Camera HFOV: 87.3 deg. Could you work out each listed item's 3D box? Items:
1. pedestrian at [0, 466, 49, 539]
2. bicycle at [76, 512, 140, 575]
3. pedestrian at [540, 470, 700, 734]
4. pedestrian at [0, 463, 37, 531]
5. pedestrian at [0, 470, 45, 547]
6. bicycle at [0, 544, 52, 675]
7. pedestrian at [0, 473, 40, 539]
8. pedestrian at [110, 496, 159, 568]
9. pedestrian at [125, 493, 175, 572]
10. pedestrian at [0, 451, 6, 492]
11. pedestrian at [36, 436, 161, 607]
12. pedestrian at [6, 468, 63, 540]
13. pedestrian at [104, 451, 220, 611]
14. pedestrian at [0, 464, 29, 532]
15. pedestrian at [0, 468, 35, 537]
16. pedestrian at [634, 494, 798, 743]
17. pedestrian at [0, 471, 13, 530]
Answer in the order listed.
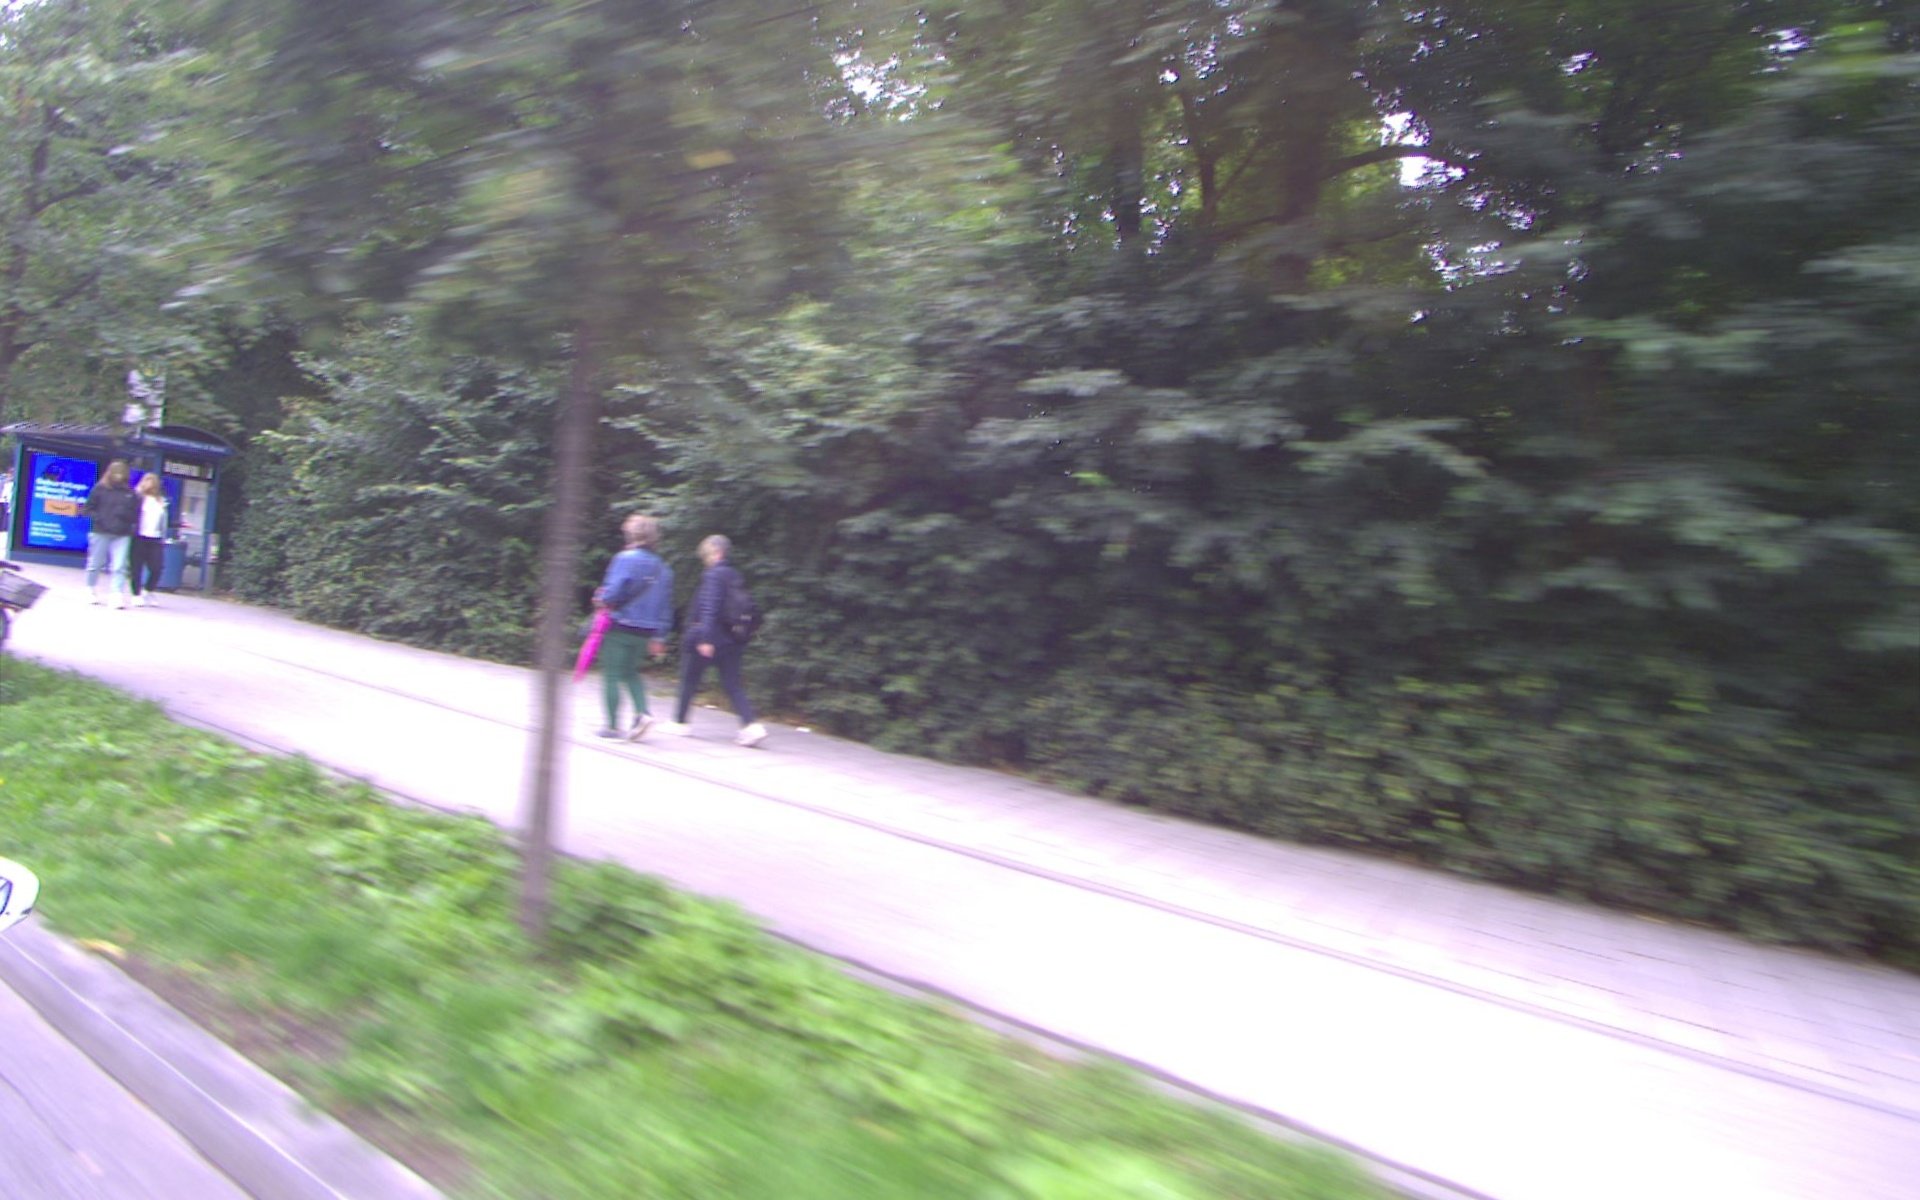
[{"bbox_3d":[-26.349,-2.736,28.259,0.717,1.873,0.813,6,-2,34],"label":"pedestrian"},{"bbox_3d":[-16.748,-1.122,19.764,1.550,1.072,0.393,7,-1,32],"label":"bicycle"},{"bbox_3d":[-2.533,0.026,7.526,0.630,1.860,0.672,6,-2,33],"label":"pedestrian"},{"bbox_3d":[-27.471,-2.992,29.105,0.717,1.811,0.813,6,-2,34],"label":"pedestrian"},{"bbox_3d":[-24.725,-2.391,26.343,0.717,1.850,0.813,6,-2,34],"label":"pedestrian"},{"bbox_3d":[-6.893,-0.018,6.849,1.858,0.803,0.494,6,-2,32],"label":"bicycle"},{"bbox_3d":[-26.947,-2.673,28.651,0.663,1.710,0.813,6,-2,34],"label":"pedestrian"},{"bbox_3d":[-20.209,-1.651,24.634,0.524,1.645,0.637,6,-2,34],"label":"pedestrian"},{"bbox_3d":[-19.505,-1.617,24.224,0.524,1.788,0.637,6,-2,34],"label":"pedestrian"},{"bbox_3d":[-16.380,-1.601,16.466,0.934,1.829,0.709,6,-2,32],"label":"pedestrian"},{"bbox_3d":[-10.526,-0.953,12.295,0.940,1.937,0.709,6,-2,32],"label":"pedestrian"},{"bbox_3d":[-25.115,-2.602,27.296,0.717,1.788,0.813,6,-2,34],"label":"pedestrian"},{"bbox_3d":[-10.420,-0.899,13.135,0.940,1.937,0.709,6,-2,32],"label":"pedestrian"},{"bbox_3d":[-28.631,-3.066,30.081,0.717,1.939,0.813,6,-2,34],"label":"pedestrian"},{"bbox_3d":[-28.026,-2.871,29.644,0.717,1.896,0.813,6,-2,34],"label":"pedestrian"},{"bbox_3d":[-1.949,0.159,8.073,0.744,1.860,0.752,6,-2,33],"label":"pedestrian"},{"bbox_3d":[-29.848,-3.105,30.889,0.717,1.759,0.813,6,-2,34],"label":"pedestrian"}]
